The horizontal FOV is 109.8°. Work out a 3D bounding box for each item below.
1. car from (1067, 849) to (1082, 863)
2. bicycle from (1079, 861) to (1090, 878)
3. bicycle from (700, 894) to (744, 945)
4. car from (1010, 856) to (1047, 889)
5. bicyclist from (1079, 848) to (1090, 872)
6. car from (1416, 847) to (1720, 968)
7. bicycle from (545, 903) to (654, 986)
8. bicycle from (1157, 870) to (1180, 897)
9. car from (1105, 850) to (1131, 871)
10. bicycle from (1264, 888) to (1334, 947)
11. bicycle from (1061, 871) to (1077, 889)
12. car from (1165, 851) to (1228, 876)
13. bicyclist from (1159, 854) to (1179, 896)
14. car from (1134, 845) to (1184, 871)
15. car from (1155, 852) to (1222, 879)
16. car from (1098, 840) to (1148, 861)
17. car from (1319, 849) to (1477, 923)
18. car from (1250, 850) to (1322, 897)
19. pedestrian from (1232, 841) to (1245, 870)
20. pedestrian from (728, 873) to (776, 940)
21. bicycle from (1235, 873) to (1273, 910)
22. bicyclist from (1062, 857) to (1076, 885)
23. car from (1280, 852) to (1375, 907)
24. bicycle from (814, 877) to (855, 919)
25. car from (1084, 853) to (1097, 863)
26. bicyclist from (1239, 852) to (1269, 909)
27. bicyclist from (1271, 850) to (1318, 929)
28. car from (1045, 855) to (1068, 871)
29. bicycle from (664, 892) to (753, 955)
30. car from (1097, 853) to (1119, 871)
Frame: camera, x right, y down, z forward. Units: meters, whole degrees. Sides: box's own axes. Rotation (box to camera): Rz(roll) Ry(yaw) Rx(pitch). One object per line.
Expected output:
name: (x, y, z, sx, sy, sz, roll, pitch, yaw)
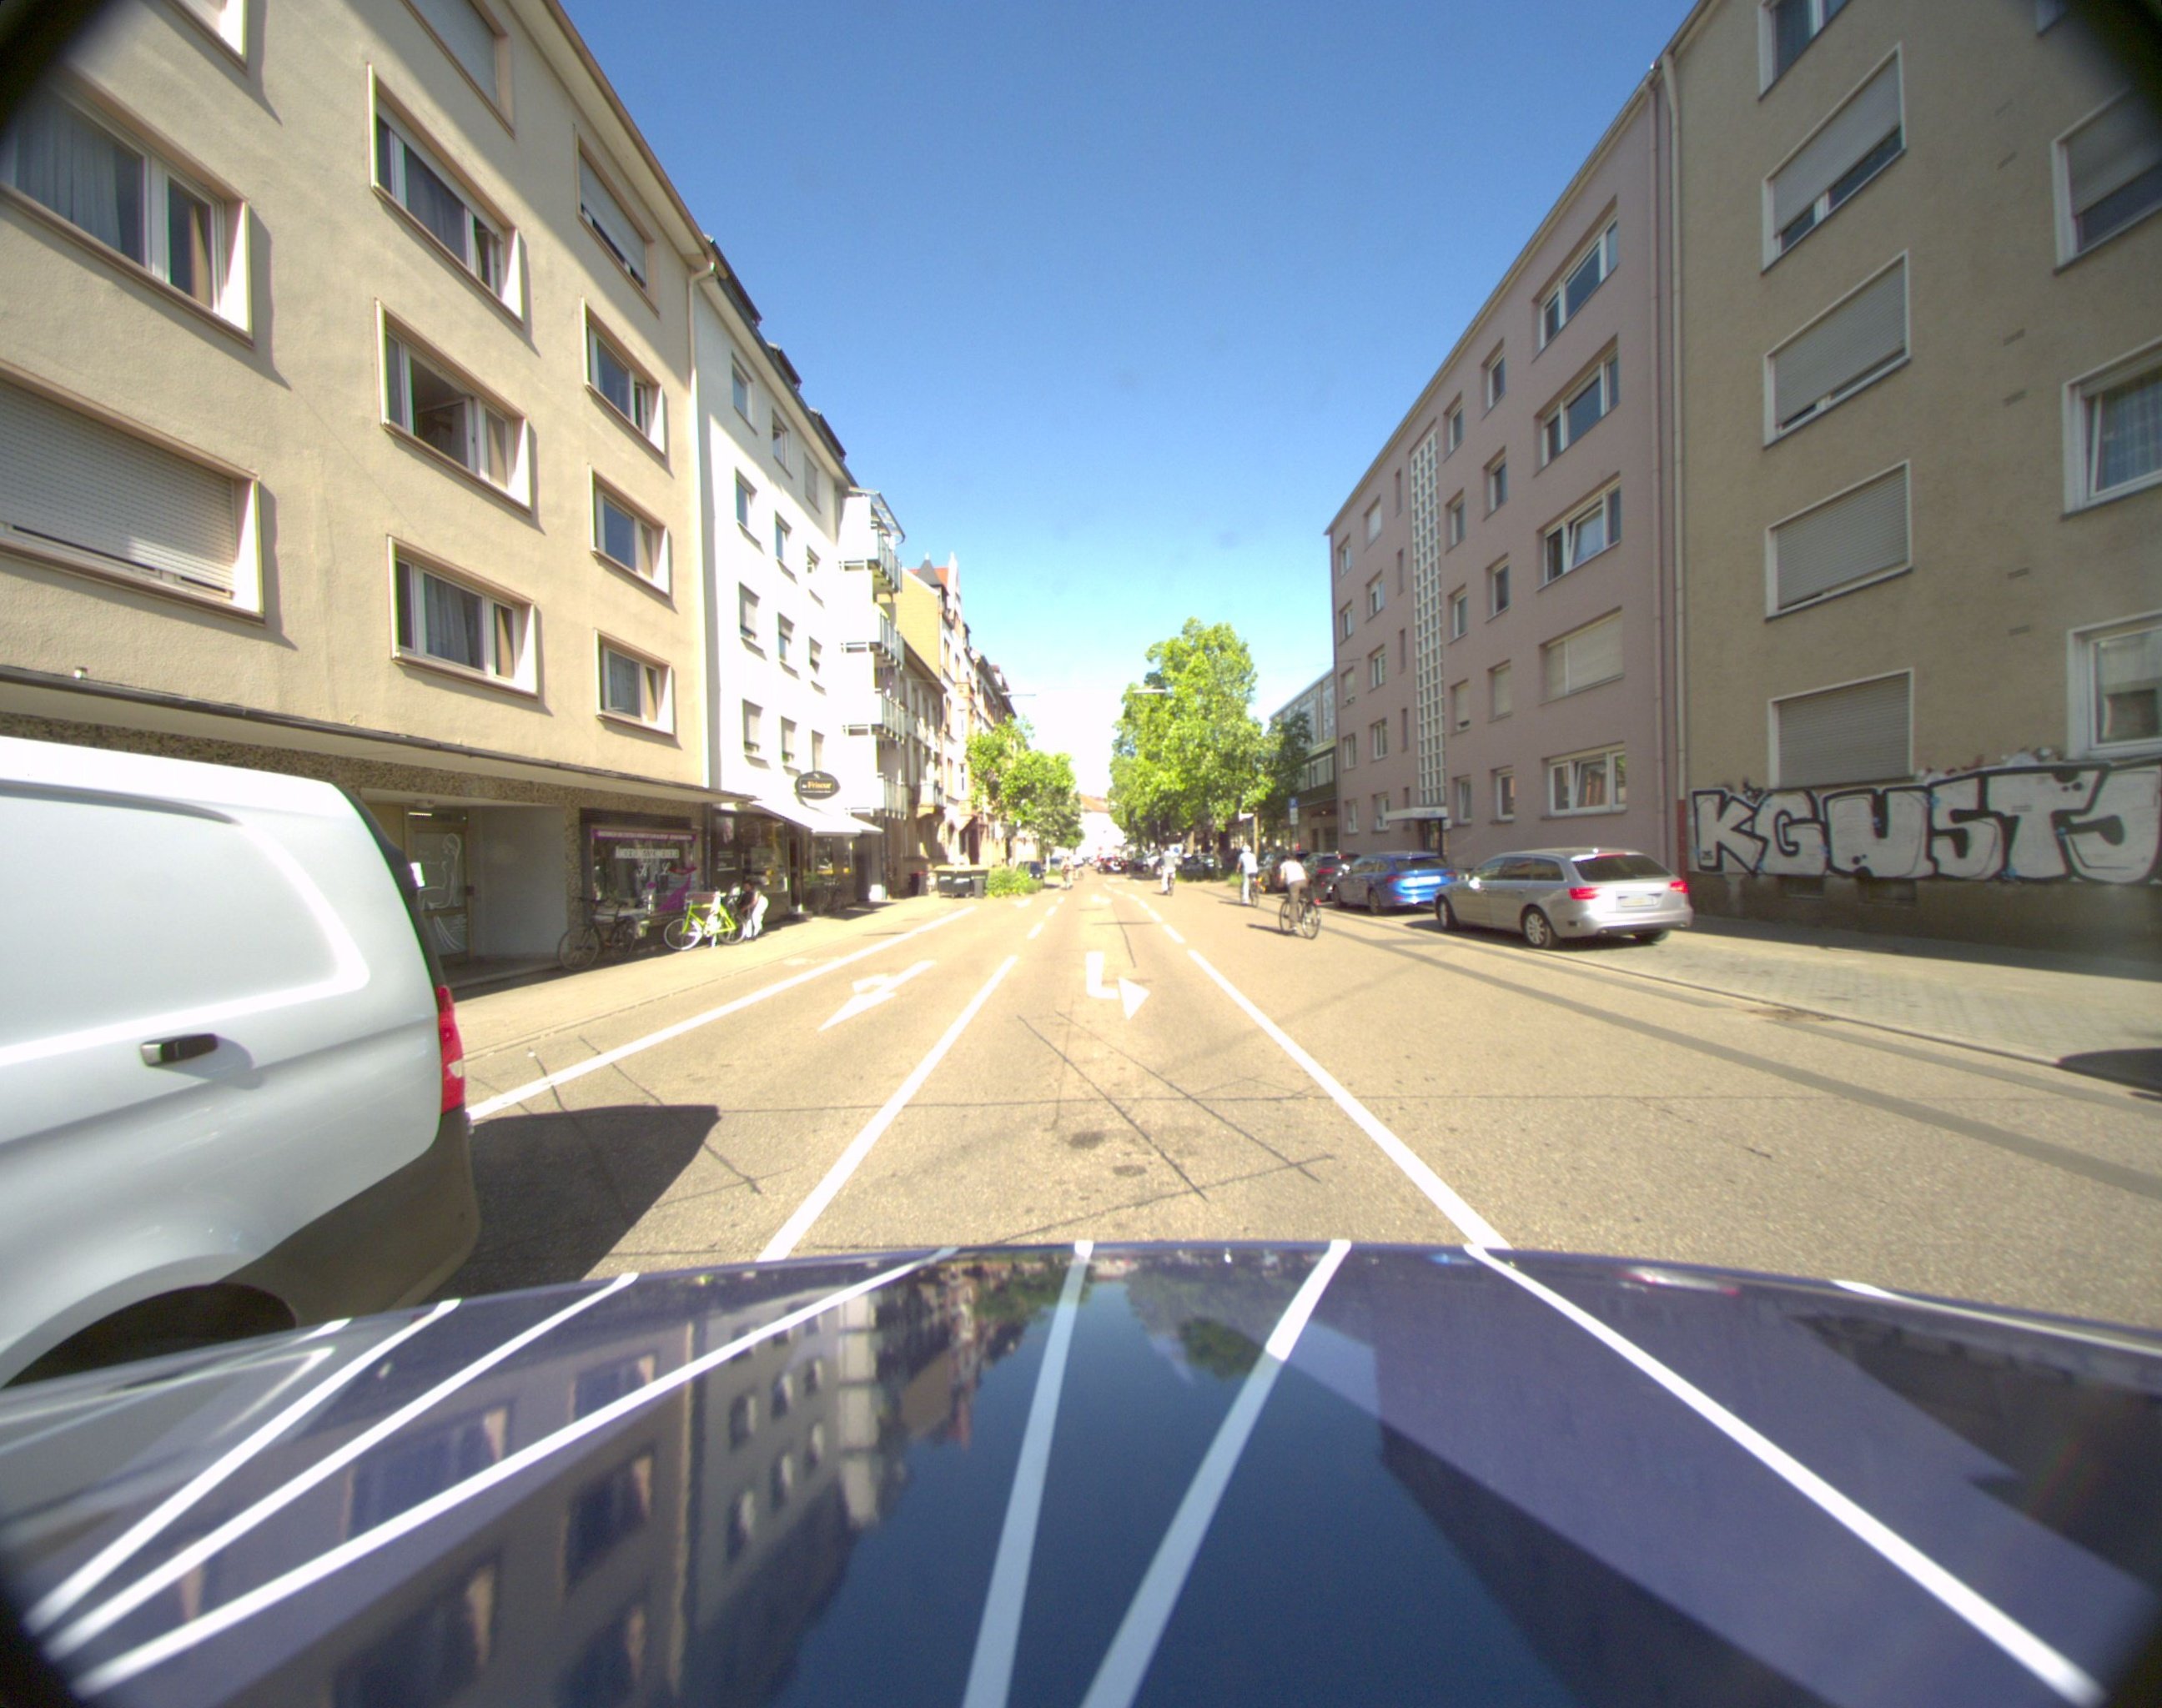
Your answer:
car: (-0.778, 0.237, 93.788, 1.627, 1.586, 3.547, -2, 0, 1)
bicycle: (0.235, 1.004, 50.410, 0.718, 1.058, 1.872, -1, 1, 1)
bicycle: (-7.701, 1.393, 16.340, 0.376, 0.977, 1.175, -2, 0, -1)
car: (-2.742, 0.957, 40.495, 1.627, 1.586, 3.547, -2, 0, 1)
bicyclist: (0.223, 0.390, 50.399, 0.718, 1.611, 0.946, -1, 1, 1)
car: (7.534, 0.709, 12.501, 1.828, 1.494, 4.801, -4, 0, 0)
bicycle: (-7.498, 1.368, 11.933, 0.407, 1.078, 1.801, 1, 0, 6)
bicycle: (3.323, 1.121, 29.059, 0.681, 0.946, 1.933, 0, 0, 1)
car: (2.921, 0.504, 61.006, 1.911, 1.543, 4.000, -2, 0, 1)
bicycle: (3.903, 1.114, 13.739, 0.544, 0.897, 1.825, -2, 0, -6)
bicycle: (-0.583, 1.258, 37.494, 0.582, 0.801, 1.710, -2, 0, 6)
car: (7.737, 0.605, 51.073, 3.996, 1.543, 1.913, -2, 0, 3)
bicyclist: (3.348, 0.786, 29.042, 0.681, 1.567, 0.899, 0, 1, 1)
car: (6.349, 0.331, 62.022, 3.875, 2.031, 1.913, -2, 0, 3)
car: (6.708, 0.683, 47.808, 3.996, 1.543, 1.913, -2, 0, 3)
car: (4.918, -0.421, 89.628, 5.568, 2.379, 1.974, -2, 1, -25)
car: (7.678, 0.701, 18.994, 1.828, 1.494, 4.801, -4, 0, 0)
car: (7.787, 0.680, 29.233, 1.727, 1.567, 4.158, -4, 0, 2)
pedestrian: (9.880, 0.118, 47.661, 0.623, 1.795, 0.502, -2, 1, 2)
pedestrian: (-7.328, 1.158, 16.967, 0.776, 1.434, 0.625, -2, 1, -4)
bicycle: (4.951, 1.051, 21.855, 0.681, 0.946, 1.933, -1, 0, 1)
bicyclist: (-0.602, 0.819, 37.445, 0.582, 1.369, 0.665, -2, 1, 6)
car: (7.632, 0.740, 23.906, 1.727, 1.459, 4.158, -4, 0, 2)
bicycle: (-7.316, 1.290, 22.628, 0.598, 1.137, 1.774, 1, 0, 1)
car: (1.331, 0.509, 102.919, 1.627, 1.270, 3.547, -2, 0, 3)
bicyclist: (4.958, 0.743, 21.828, 0.681, 1.621, 0.899, 0, 1, 1)
bicyclist: (3.877, 0.631, 13.863, 0.544, 1.383, 0.788, -2, 1, -6)
car: (-2.350, 0.813, 73.089, 1.914, 1.444, 3.547, -2, 0, 1)
bicycle: (-7.351, 1.344, 15.013, 1.497, 1.100, 0.722, -2, 0, -31)
car: (2.443, 0.705, 70.071, 1.911, 1.543, 4.000, -2, 0, 1)
